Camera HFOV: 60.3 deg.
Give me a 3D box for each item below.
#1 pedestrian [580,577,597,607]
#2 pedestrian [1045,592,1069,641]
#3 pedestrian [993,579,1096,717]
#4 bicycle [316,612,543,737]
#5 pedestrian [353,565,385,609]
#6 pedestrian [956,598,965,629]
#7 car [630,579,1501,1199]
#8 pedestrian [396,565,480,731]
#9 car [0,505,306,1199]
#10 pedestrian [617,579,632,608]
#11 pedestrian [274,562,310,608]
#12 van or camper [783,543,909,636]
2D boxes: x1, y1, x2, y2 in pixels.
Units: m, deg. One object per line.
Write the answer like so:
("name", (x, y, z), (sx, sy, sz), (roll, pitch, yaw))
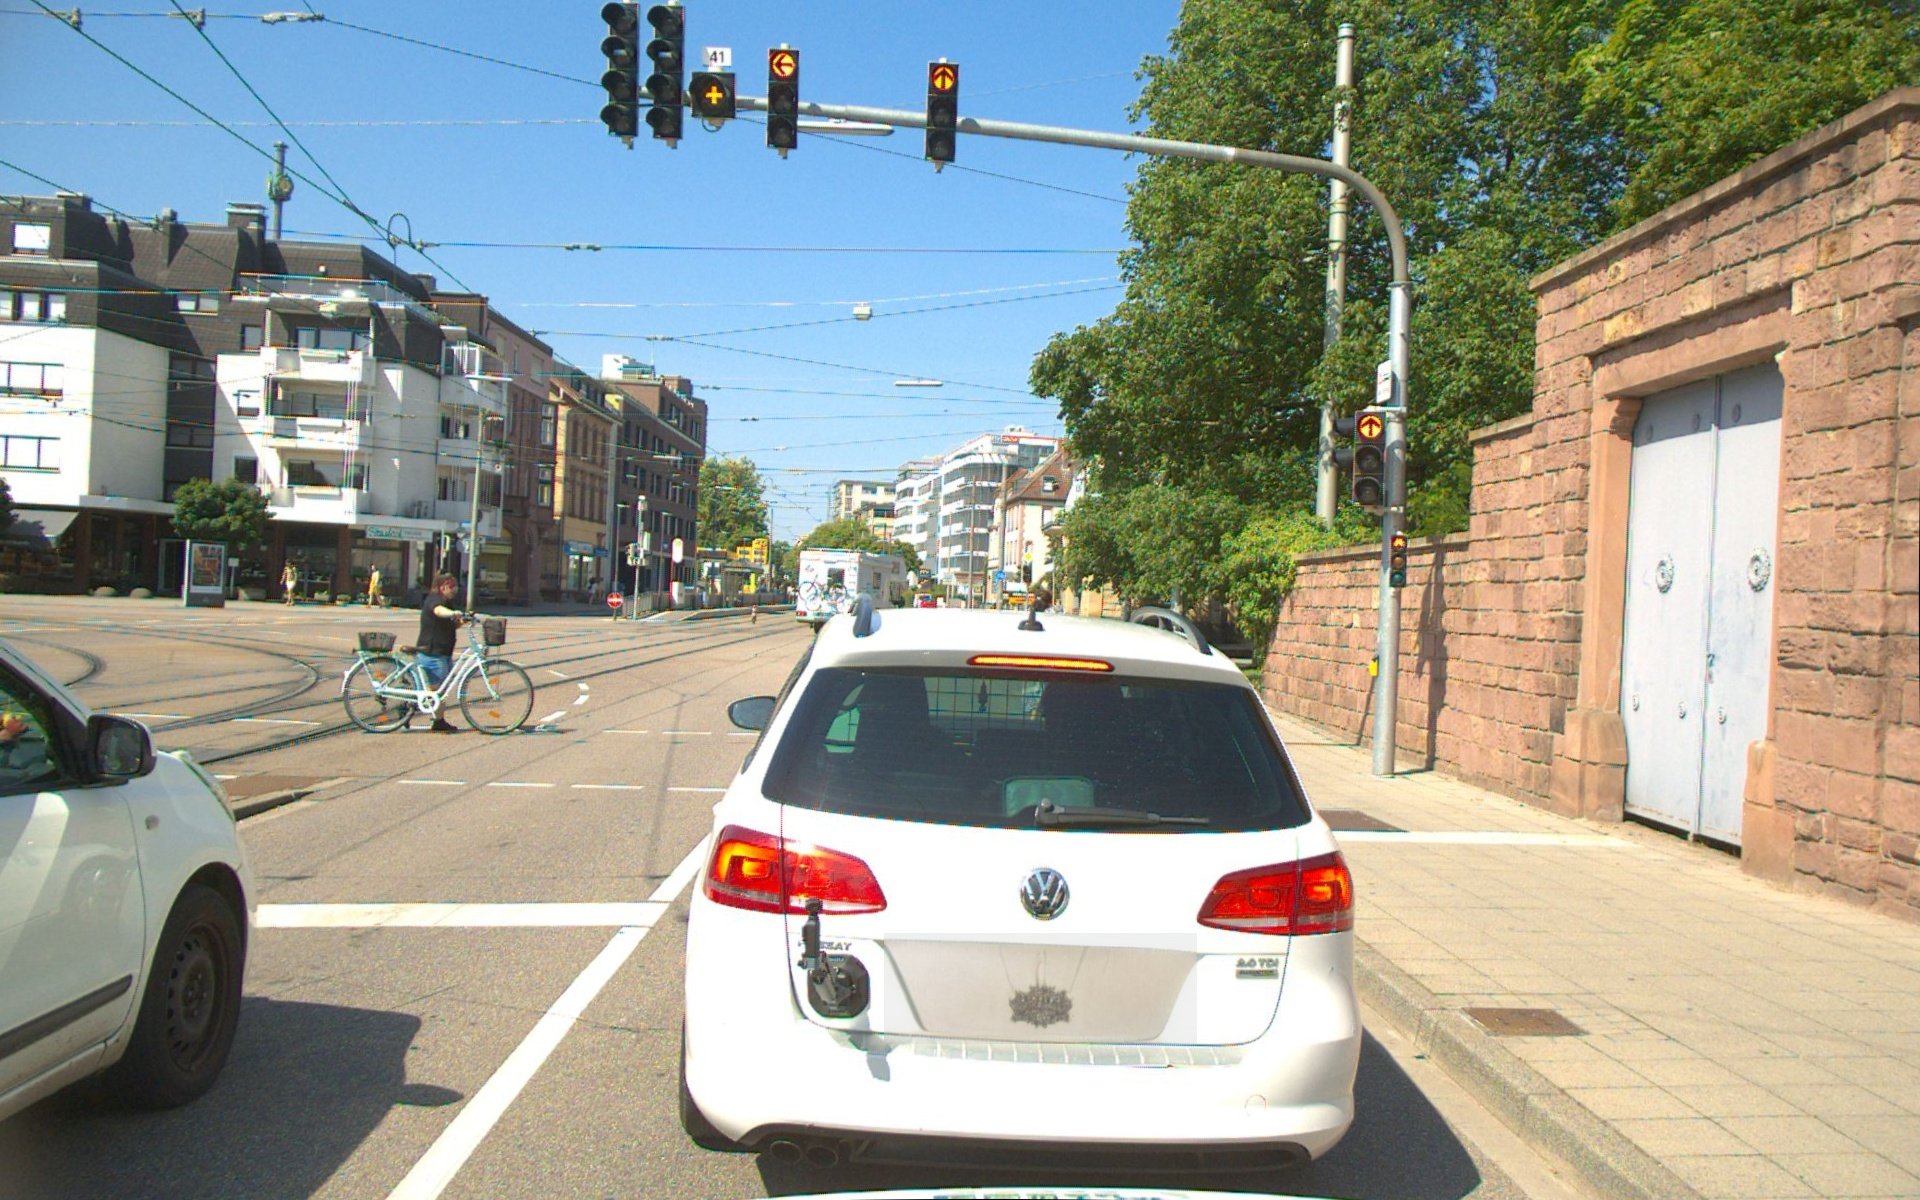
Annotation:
("pedestrian", (-22.303, -0.504, 99.257), (0.845, 1.773, 0.973), (1, -1, -6))
("pedestrian", (3.571, 0.621, 60.958), (0.843, 1.773, 0.975), (0, -1, 6))
("pedestrian", (1.065, 0.590, 20.792), (0.936, 1.680, 0.972), (0, -1, 33))
("bicycle", (-5.029, 0.705, 15.801), (1.986, 1.109, 0.707), (2, 0, -16))
("pedestrian", (-24.464, -0.521, 68.491), (0.967, 1.773, 0.851), (1, -1, -42))
("pedestrian", (0.070, 1.076, 127.401), (0.675, 2.366, 1.232), (0, -1, 0))
("car", (0.185, 0.713, 5.425), (1.771, 1.473, 3.999), (2, 0, -1))
("pedestrian", (-5.166, 0.462, 16.402), (0.733, 1.599, 0.673), (1, 1, -15))
("car", (-2.844, 0.588, 3.308), (1.608, 1.593, 3.803), (1, 1, -1))
("pedestrian", (-21.387, -0.409, 105.371), (0.845, 1.773, 0.973), (1, -1, -6))
("pedestrian", (-26.080, -0.589, 64.625), (0.845, 1.773, 0.974), (0, -1, 26))
("van or camper", (-3.991, -0.303, 59.092), (2.513, 3.147, 5.705), (0, -1, 18))
